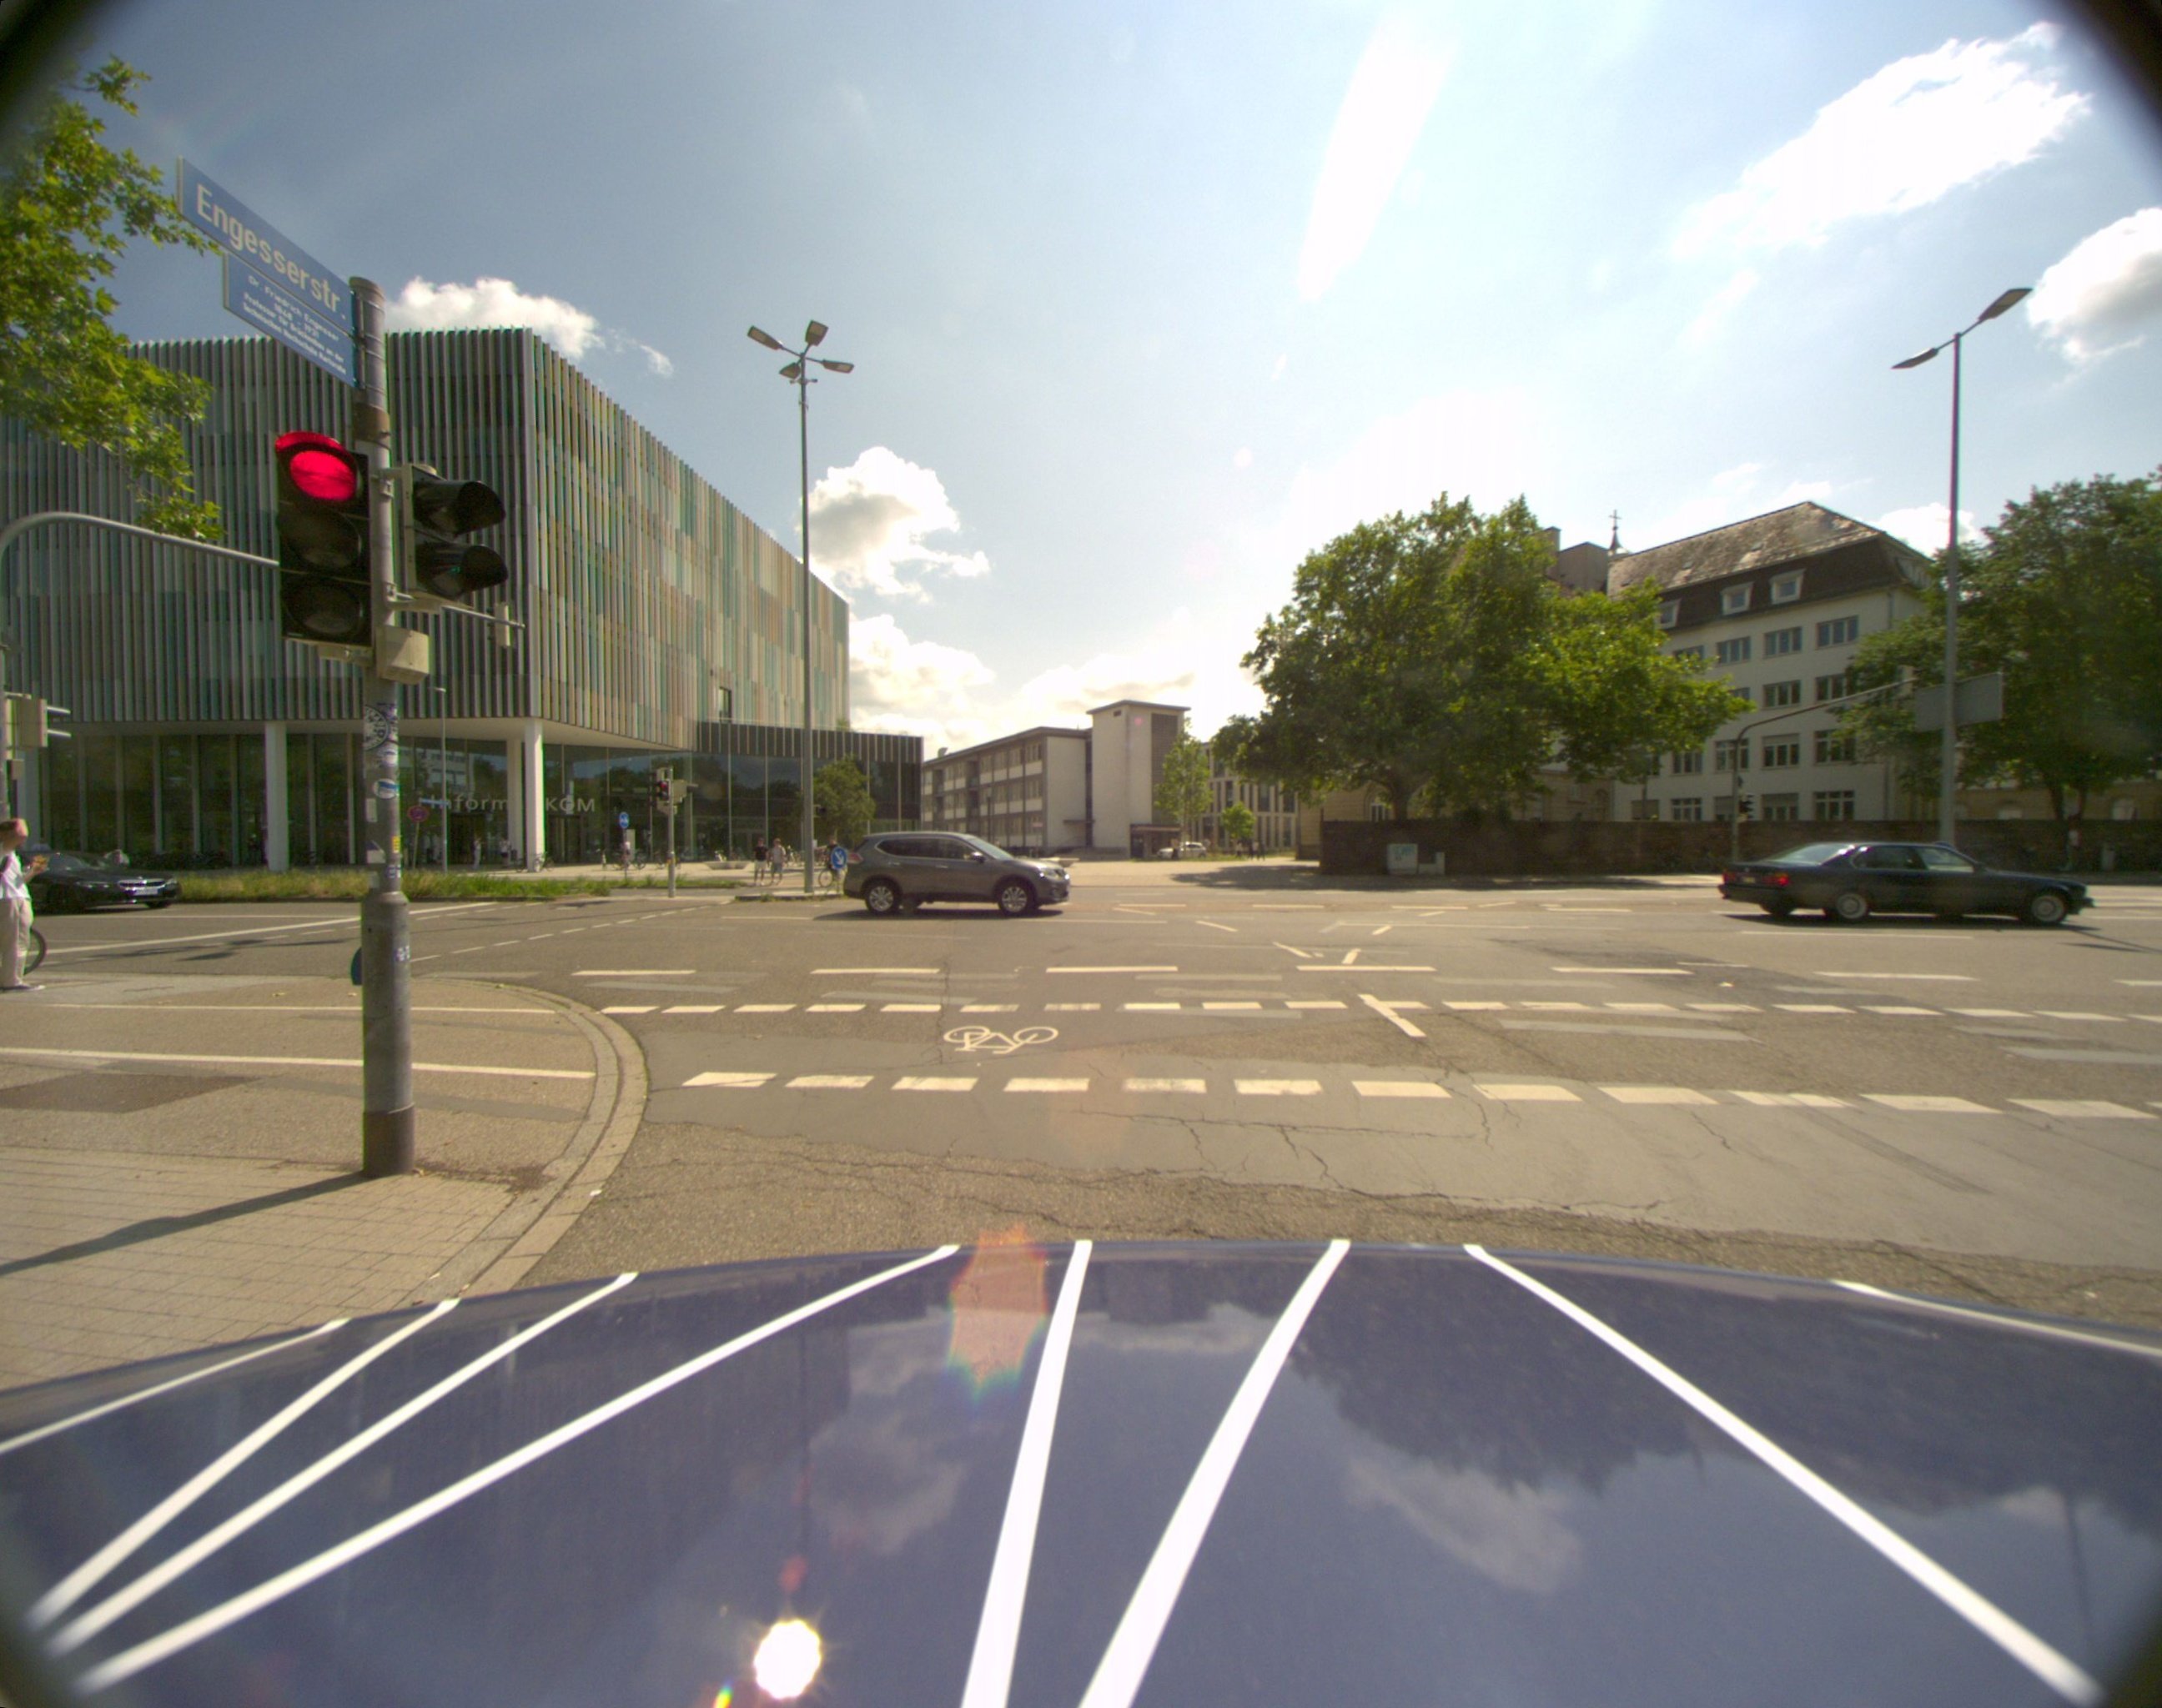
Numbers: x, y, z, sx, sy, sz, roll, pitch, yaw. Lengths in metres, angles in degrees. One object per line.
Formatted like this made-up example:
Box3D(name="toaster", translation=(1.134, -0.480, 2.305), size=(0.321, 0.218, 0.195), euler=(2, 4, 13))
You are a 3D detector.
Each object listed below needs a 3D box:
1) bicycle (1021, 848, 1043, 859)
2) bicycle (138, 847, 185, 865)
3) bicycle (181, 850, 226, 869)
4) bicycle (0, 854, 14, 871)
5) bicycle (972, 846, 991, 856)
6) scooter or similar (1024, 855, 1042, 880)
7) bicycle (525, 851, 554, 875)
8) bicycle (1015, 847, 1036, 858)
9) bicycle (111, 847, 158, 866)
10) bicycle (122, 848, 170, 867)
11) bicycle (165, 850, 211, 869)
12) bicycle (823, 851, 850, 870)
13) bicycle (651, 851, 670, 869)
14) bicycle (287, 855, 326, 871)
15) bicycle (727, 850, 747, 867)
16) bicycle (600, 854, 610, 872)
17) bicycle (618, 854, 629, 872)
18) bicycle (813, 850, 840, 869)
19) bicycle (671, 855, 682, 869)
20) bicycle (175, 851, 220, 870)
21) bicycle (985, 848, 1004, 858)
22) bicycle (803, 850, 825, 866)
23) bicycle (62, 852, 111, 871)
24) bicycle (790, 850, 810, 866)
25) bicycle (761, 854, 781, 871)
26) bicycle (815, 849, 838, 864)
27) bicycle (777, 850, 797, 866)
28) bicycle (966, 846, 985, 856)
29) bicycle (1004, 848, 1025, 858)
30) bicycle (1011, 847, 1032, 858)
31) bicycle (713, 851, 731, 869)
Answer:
Box3D(name="bicycle", translation=(-4.218, -0.056, 65.622), size=(1.775, 0.950, 0.528), euler=(0, 3, -22))
Box3D(name="bicycle", translation=(-50.223, 0.093, 41.507), size=(0.373, 0.950, 1.548), euler=(1, 3, 19))
Box3D(name="bicycle", translation=(-47.775, 0.309, 41.394), size=(0.373, 0.950, 1.548), euler=(1, 3, 19))
Box3D(name="bicycle", translation=(-60.896, 0.522, 42.254), size=(0.432, 0.950, 1.785), euler=(0, 3, 3))
Box3D(name="bicycle", translation=(-9.655, -0.325, 73.787), size=(1.776, 0.950, 0.528), euler=(0, 3, -25))
Box3D(name="scooter or similar", translation=(-2.146, 0.587, 33.774), size=(0.403, 1.060, 1.149), euler=(-1, 1, -24))
Box3D(name="bicycle", translation=(-28.499, 0.440, 40.021), size=(0.373, 1.181, 1.546), euler=(1, 3, 2))
Box3D(name="bicycle", translation=(-4.854, -0.106, 66.763), size=(1.776, 0.950, 0.528), euler=(0, 3, -25))
Box3D(name="bicycle", translation=(-51.521, 0.120, 41.370), size=(0.373, 0.950, 1.548), euler=(1, 3, 19))
Box3D(name="bicycle", translation=(-50.802, 0.197, 41.297), size=(0.373, 0.950, 1.548), euler=(1, 3, 19))
Box3D(name="bicycle", translation=(-49.000, 0.292, 41.703), size=(0.373, 0.950, 1.548), euler=(1, 3, 19))
Box3D(name="bicycle", translation=(-12.928, 0.316, 40.216), size=(1.768, 0.950, 0.530), euler=(2, 2, 41))
Box3D(name="bicycle", translation=(-23.920, 0.334, 43.223), size=(0.529, 0.950, 1.770), euler=(0, 2, -16))
Box3D(name="bicycle", translation=(-42.493, 0.491, 41.699), size=(0.373, 0.772, 1.547), euler=(0, 3, 7))
Box3D(name="bicycle", translation=(-20.496, 0.267, 45.252), size=(0.530, 0.950, 1.768), euler=(-5, 5, -40))
Box3D(name="bicycle", translation=(-26.066, 0.494, 41.564), size=(0.374, 0.950, 1.542), euler=(-1, 2, -35))
Box3D(name="bicycle", translation=(-25.541, 0.472, 42.424), size=(0.374, 0.950, 1.768), euler=(-1, 2, -35))
Box3D(name="bicycle", translation=(-13.327, 0.299, 39.771), size=(1.768, 0.950, 0.530), euler=(2, 2, 41))
Box3D(name="bicycle", translation=(-23.166, 0.455, 43.540), size=(0.530, 0.760, 1.769), euler=(-1, 2, -28))
Box3D(name="bicycle", translation=(-48.329, 0.347, 41.577), size=(0.373, 0.950, 1.548), euler=(1, 3, 19))
Box3D(name="bicycle", translation=(-8.164, -0.127, 71.676), size=(1.776, 0.950, 0.528), euler=(0, 3, -25))
Box3D(name="bicycle", translation=(-16.772, 0.271, 47.715), size=(1.768, 0.950, 0.530), euler=(2, 2, 41))
Box3D(name="bicycle", translation=(-54.600, 0.406, 41.730), size=(0.373, 0.950, 1.548), euler=(1, 3, 19))
Box3D(name="bicycle", translation=(-17.414, 0.241, 47.094), size=(0.530, 0.950, 1.768), euler=(-2, 2, -42))
Box3D(name="bicycle", translation=(-19.021, 0.510, 46.619), size=(0.530, 0.950, 1.768), euler=(-2, 2, -42))
Box3D(name="bicycle", translation=(-16.133, 0.149, 48.115), size=(1.768, 0.950, 0.530), euler=(2, 2, 41))
Box3D(name="bicycle", translation=(-18.147, 0.260, 46.916), size=(0.530, 0.950, 1.768), euler=(-2, 2, -42))
Box3D(name="bicycle", translation=(-10.375, -0.288, 74.886), size=(1.776, 0.950, 0.528), euler=(0, 3, -25))
Box3D(name="bicycle", translation=(-6.006, -0.099, 68.745), size=(1.776, 0.950, 0.528), euler=(0, 3, -25))
Box3D(name="bicycle", translation=(-5.314, -0.096, 67.638), size=(1.776, 0.950, 0.528), euler=(0, 3, -25))
Box3D(name="bicycle", translation=(-21.110, 0.350, 44.667), size=(0.530, 0.950, 1.768), euler=(-1, 3, -40))
